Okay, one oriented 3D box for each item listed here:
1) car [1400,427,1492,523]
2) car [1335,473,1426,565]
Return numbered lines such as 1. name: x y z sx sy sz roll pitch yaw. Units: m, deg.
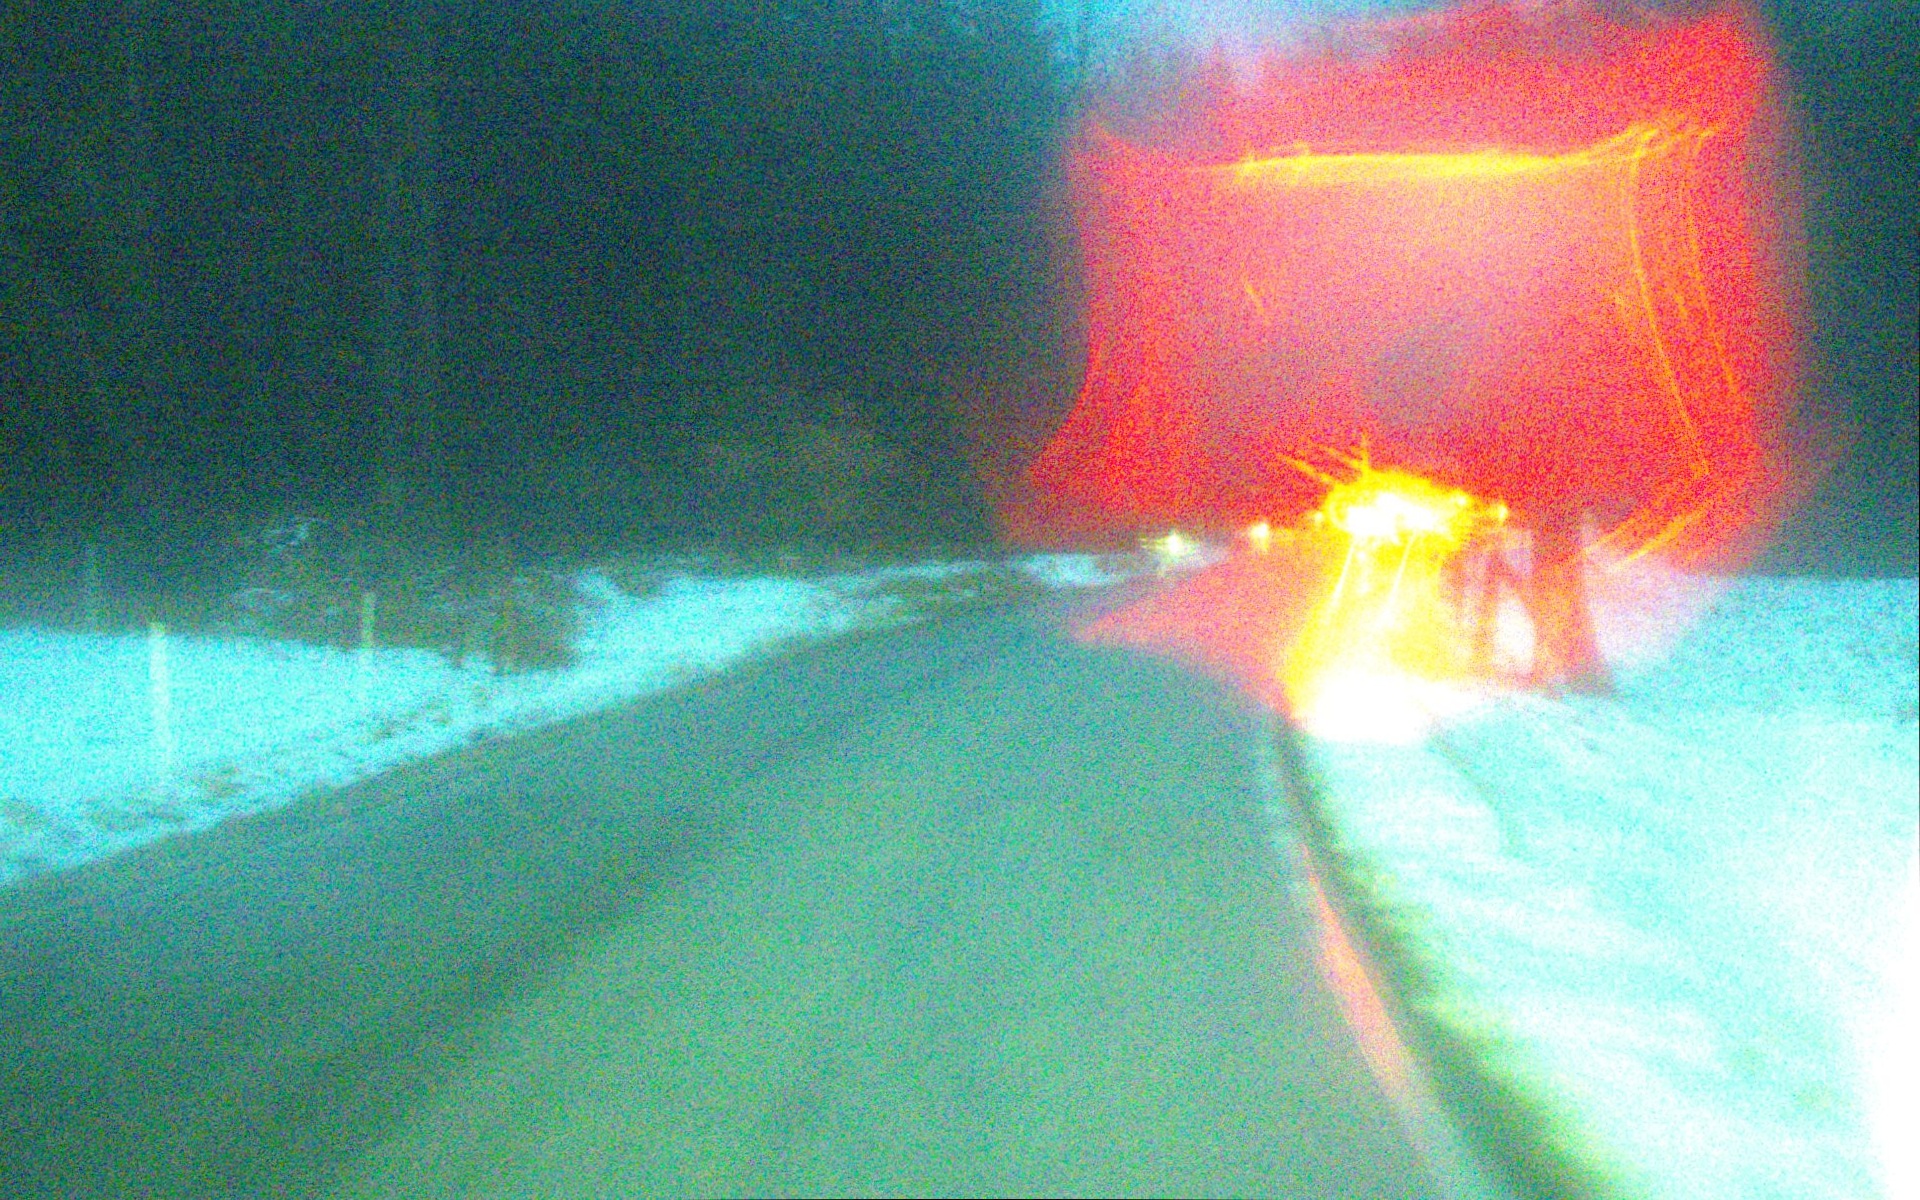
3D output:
1. car: 14.121 -3.614 99.689 2.253 2.636 5.004 -1 2 12
2. car: 9.841 -1.928 80.749 1.994 2.044 4.000 1 3 6
